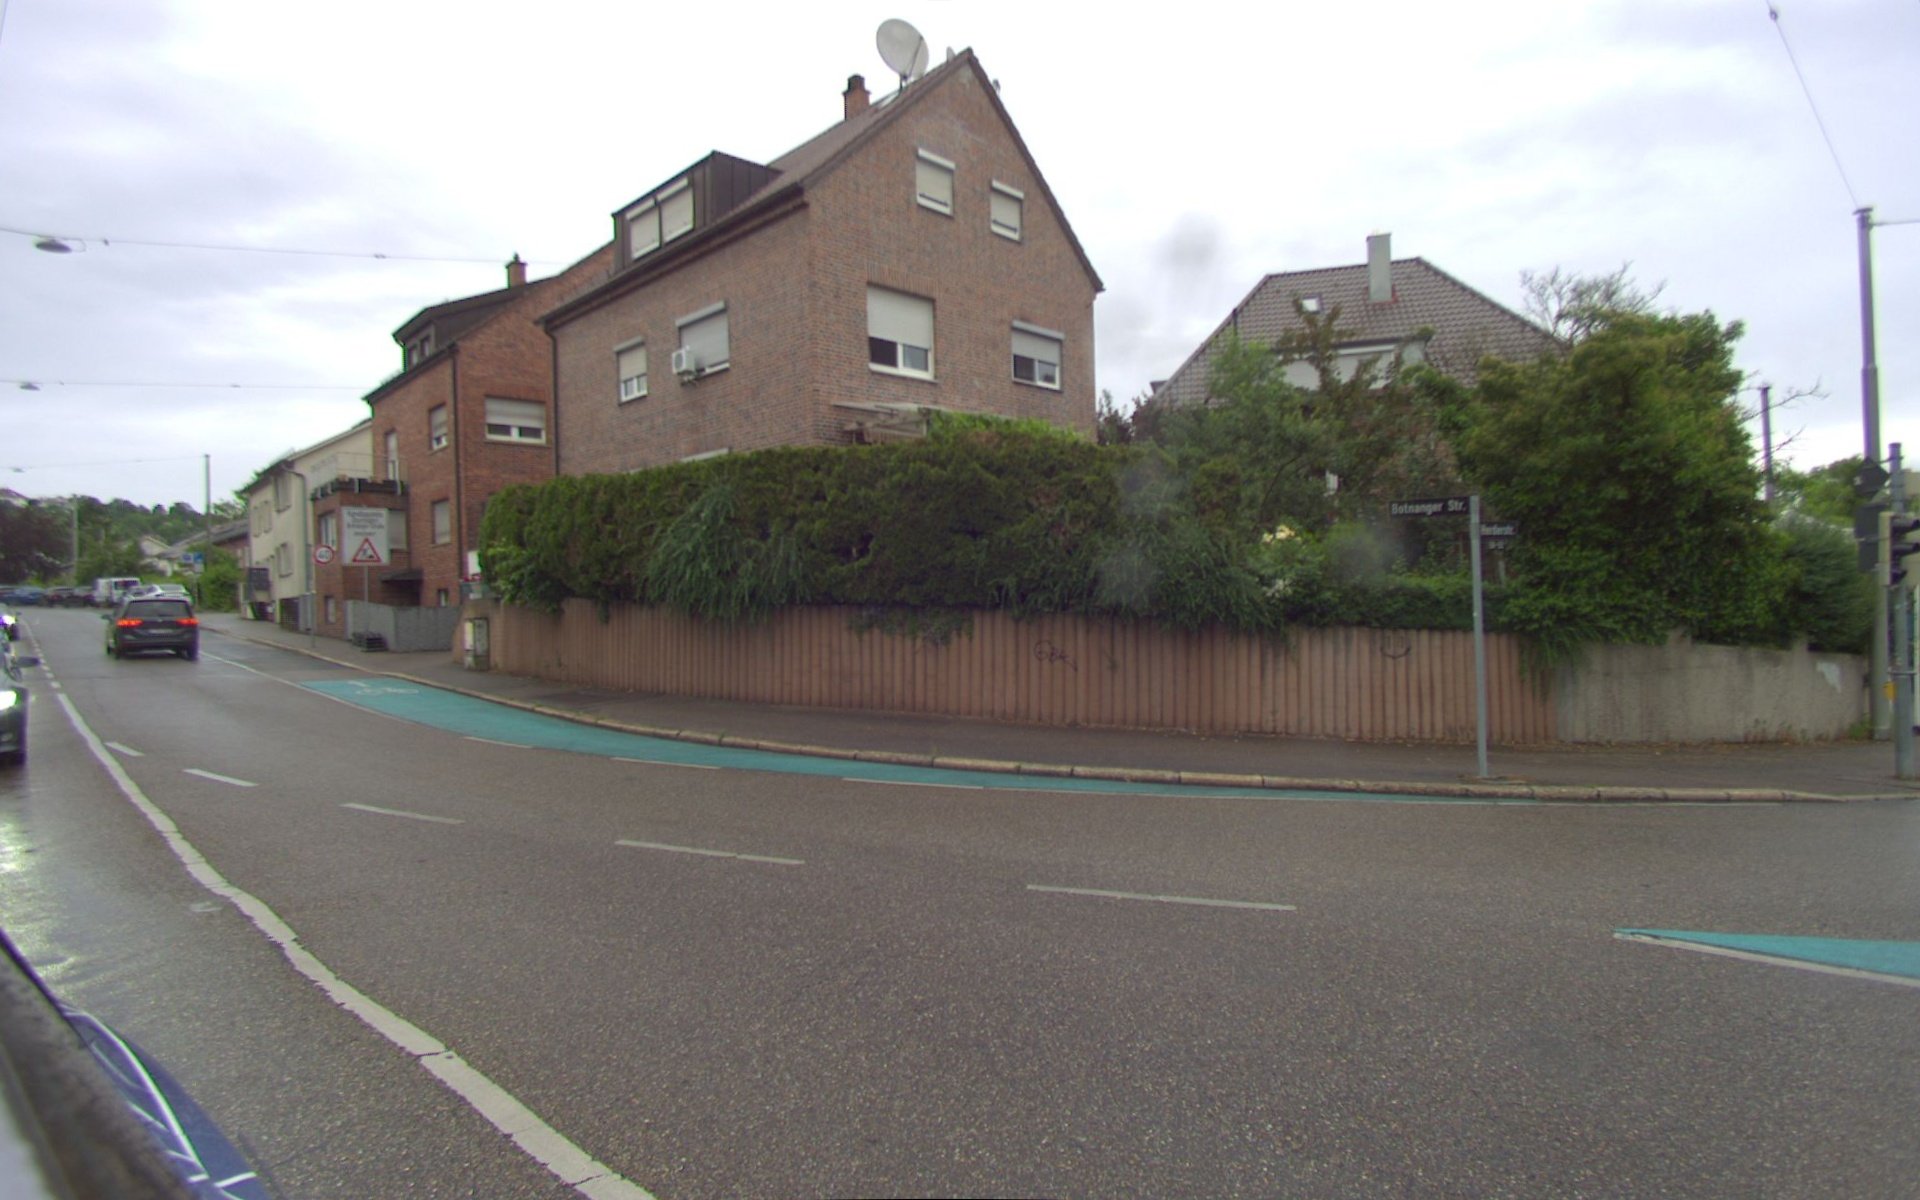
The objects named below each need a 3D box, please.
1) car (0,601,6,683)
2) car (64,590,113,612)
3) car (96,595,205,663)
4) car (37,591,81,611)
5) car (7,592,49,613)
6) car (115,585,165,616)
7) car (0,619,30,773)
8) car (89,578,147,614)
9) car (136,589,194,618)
[{"bbox_3d":[-20.519,0.818,20.394,3.785,1.601,1.765,0,0,45],"label":"car"},{"bbox_3d":[-61.532,0.089,71.462,4.002,1.501,1.636,-1,1,34],"label":"car"},{"bbox_3d":[-22.220,0.751,27.725,4.175,1.693,1.827,1,-1,45],"label":"car"},{"bbox_3d":[-66.514,0.071,74.684,3.854,1.407,1.635,-1,2,36],"label":"car"},{"bbox_3d":[-71.233,0.197,77.323,3.895,1.501,1.605,-1,2,36],"label":"car"},{"bbox_3d":[-52.384,0.034,64.657,4.262,1.817,1.791,0,2,42],"label":"car"},{"bbox_3d":[-11.029,0.921,10.294,3.997,1.426,1.847,0,0,40],"label":"car"},{"bbox_3d":[-57.033,-0.273,68.511,4.544,2.303,2.229,0,2,41],"label":"car"},{"bbox_3d":[-46.430,0.201,59.069,4.262,1.577,1.921,0,2,42],"label":"car"}]
